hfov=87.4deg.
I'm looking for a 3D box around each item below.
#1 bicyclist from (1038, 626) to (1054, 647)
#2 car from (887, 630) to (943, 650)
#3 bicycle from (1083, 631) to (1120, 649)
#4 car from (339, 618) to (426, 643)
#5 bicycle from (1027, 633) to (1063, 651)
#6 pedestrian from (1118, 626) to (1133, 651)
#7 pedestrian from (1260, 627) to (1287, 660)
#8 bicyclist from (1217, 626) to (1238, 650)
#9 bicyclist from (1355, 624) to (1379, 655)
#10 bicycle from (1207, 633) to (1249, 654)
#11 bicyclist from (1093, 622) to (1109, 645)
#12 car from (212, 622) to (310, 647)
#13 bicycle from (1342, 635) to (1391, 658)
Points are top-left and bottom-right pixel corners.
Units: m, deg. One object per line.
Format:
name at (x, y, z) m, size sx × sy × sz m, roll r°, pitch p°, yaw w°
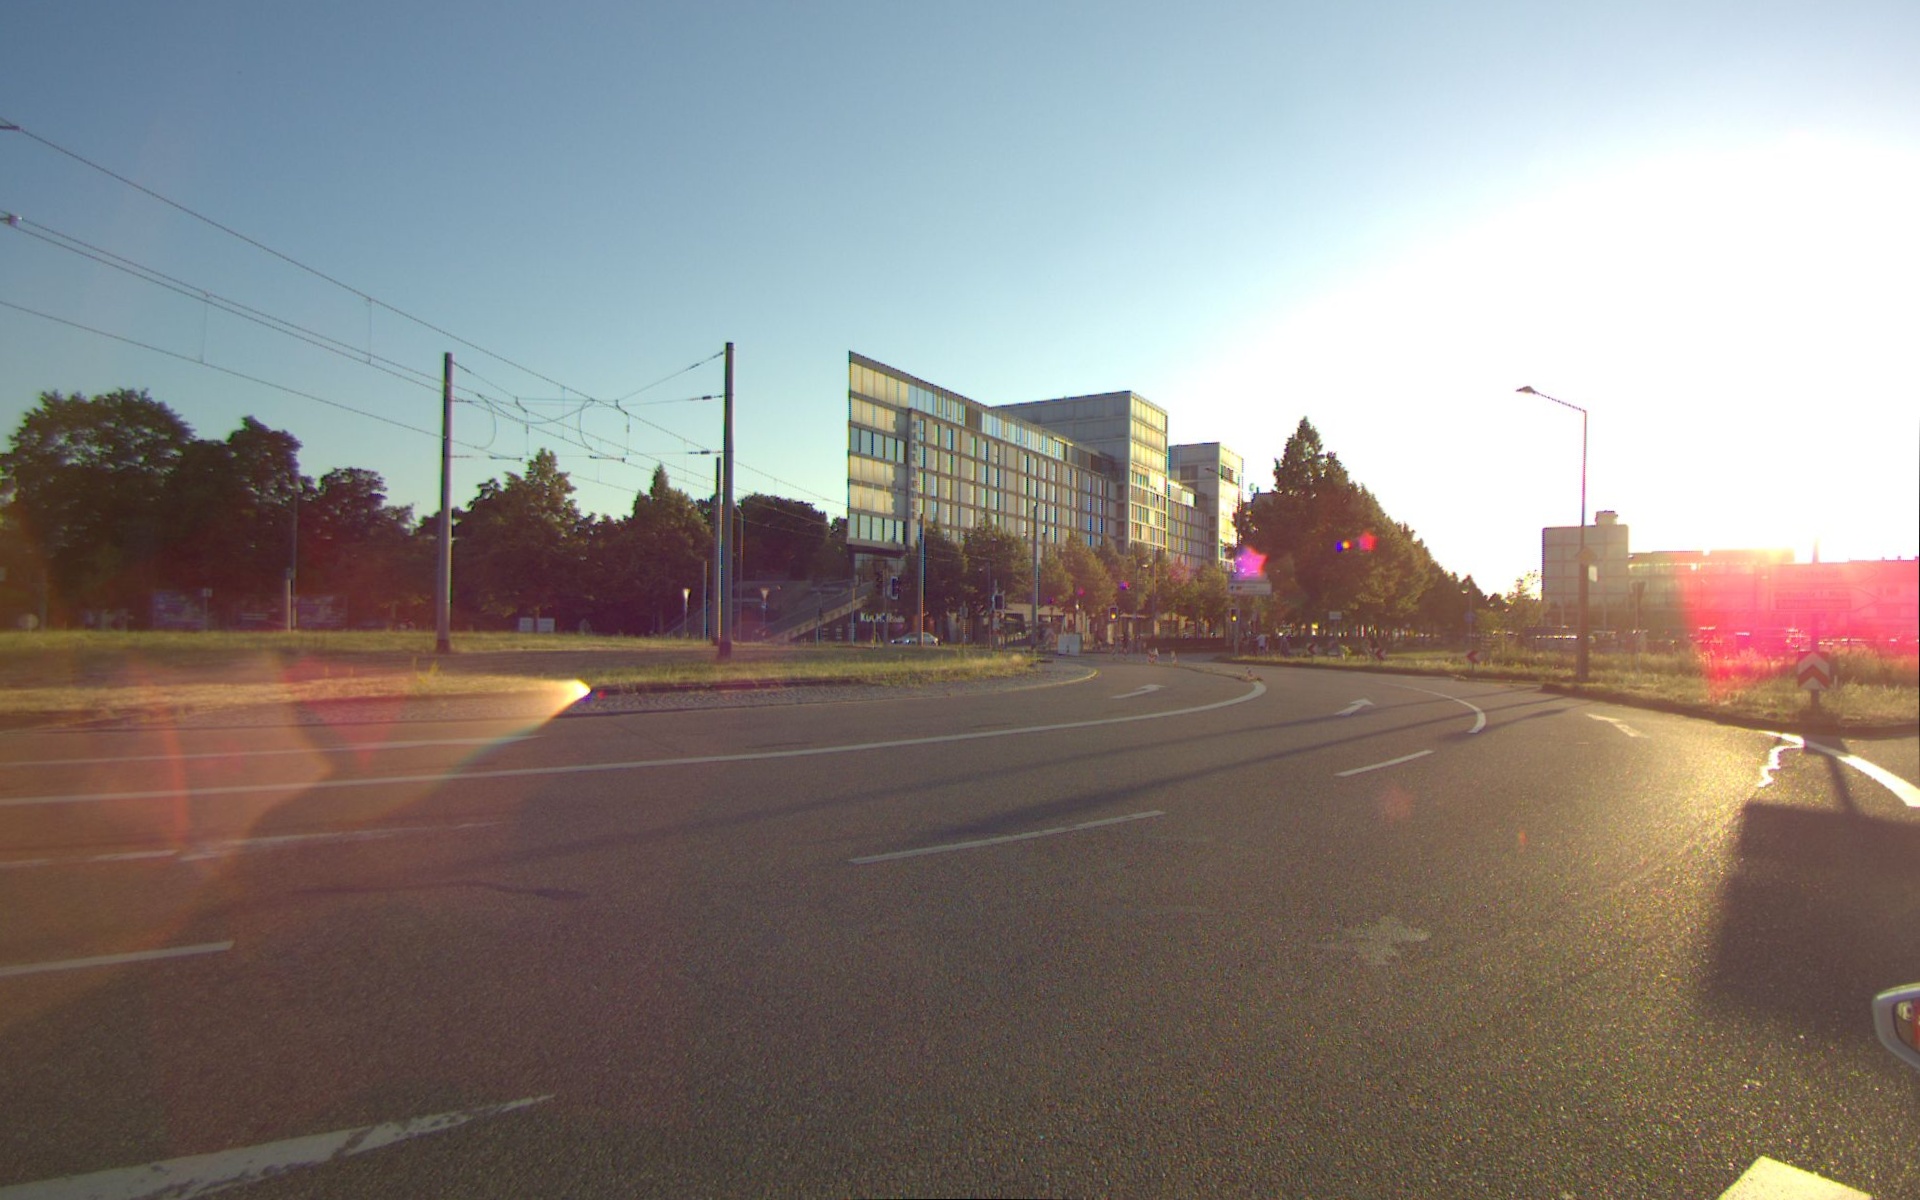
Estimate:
bicyclist at (5.934, 2.538, 69.294) m, size 0.862 × 1.411 × 0.754 m, roll 0°, pitch -1°, yaw 22°
car at (-3.707, 3.348, 83.278) m, size 1.966 × 1.565 × 5.189 m, roll 0°, pitch -2°, yaw 33°
bicycle at (9.526, 2.694, 67.523) m, size 2.362 × 1.182 × 0.755 m, roll 1°, pitch -1°, yaw 19°
car at (-35.267, 1.856, 61.417) m, size 4.234 × 1.451 × 1.945 m, roll 0°, pitch -1°, yaw 1°
bicycle at (5.858, 2.904, 69.304) m, size 2.363 × 1.182 × 0.754 m, roll 0°, pitch -1°, yaw 22°
pedestrian at (11.482, 2.652, 69.636) m, size 0.871 × 1.730 × 0.794 m, roll 0°, pitch -1°, yaw 25°
pedestrian at (18.185, 2.505, 58.326) m, size 0.970 × 1.851 × 1.150 m, roll 2°, pitch -1°, yaw -37°
bicyclist at (16.096, 2.286, 60.354) m, size 0.749 × 1.412 × 0.966 m, roll 2°, pitch -2°, yaw -42°
bicyclist at (21.821, 2.119, 53.895) m, size 0.748 × 1.634 × 0.967 m, roll 2°, pitch -1°, yaw -38°
bicycle at (16.097, 2.600, 60.371) m, size 0.749 × 1.182 × 2.380 m, roll 2°, pitch -2°, yaw -42°
bicyclist at (9.478, 2.258, 67.550) m, size 0.959 × 1.545 × 0.755 m, roll 1°, pitch -1°, yaw 19°
car at (-42.476, 2.082, 61.101) m, size 4.505 × 1.451 × 1.945 m, roll 0°, pitch -1°, yaw -2°
bicycle at (21.823, 2.491, 53.911) m, size 0.748 × 1.182 × 2.383 m, roll 2°, pitch -2°, yaw -38°
